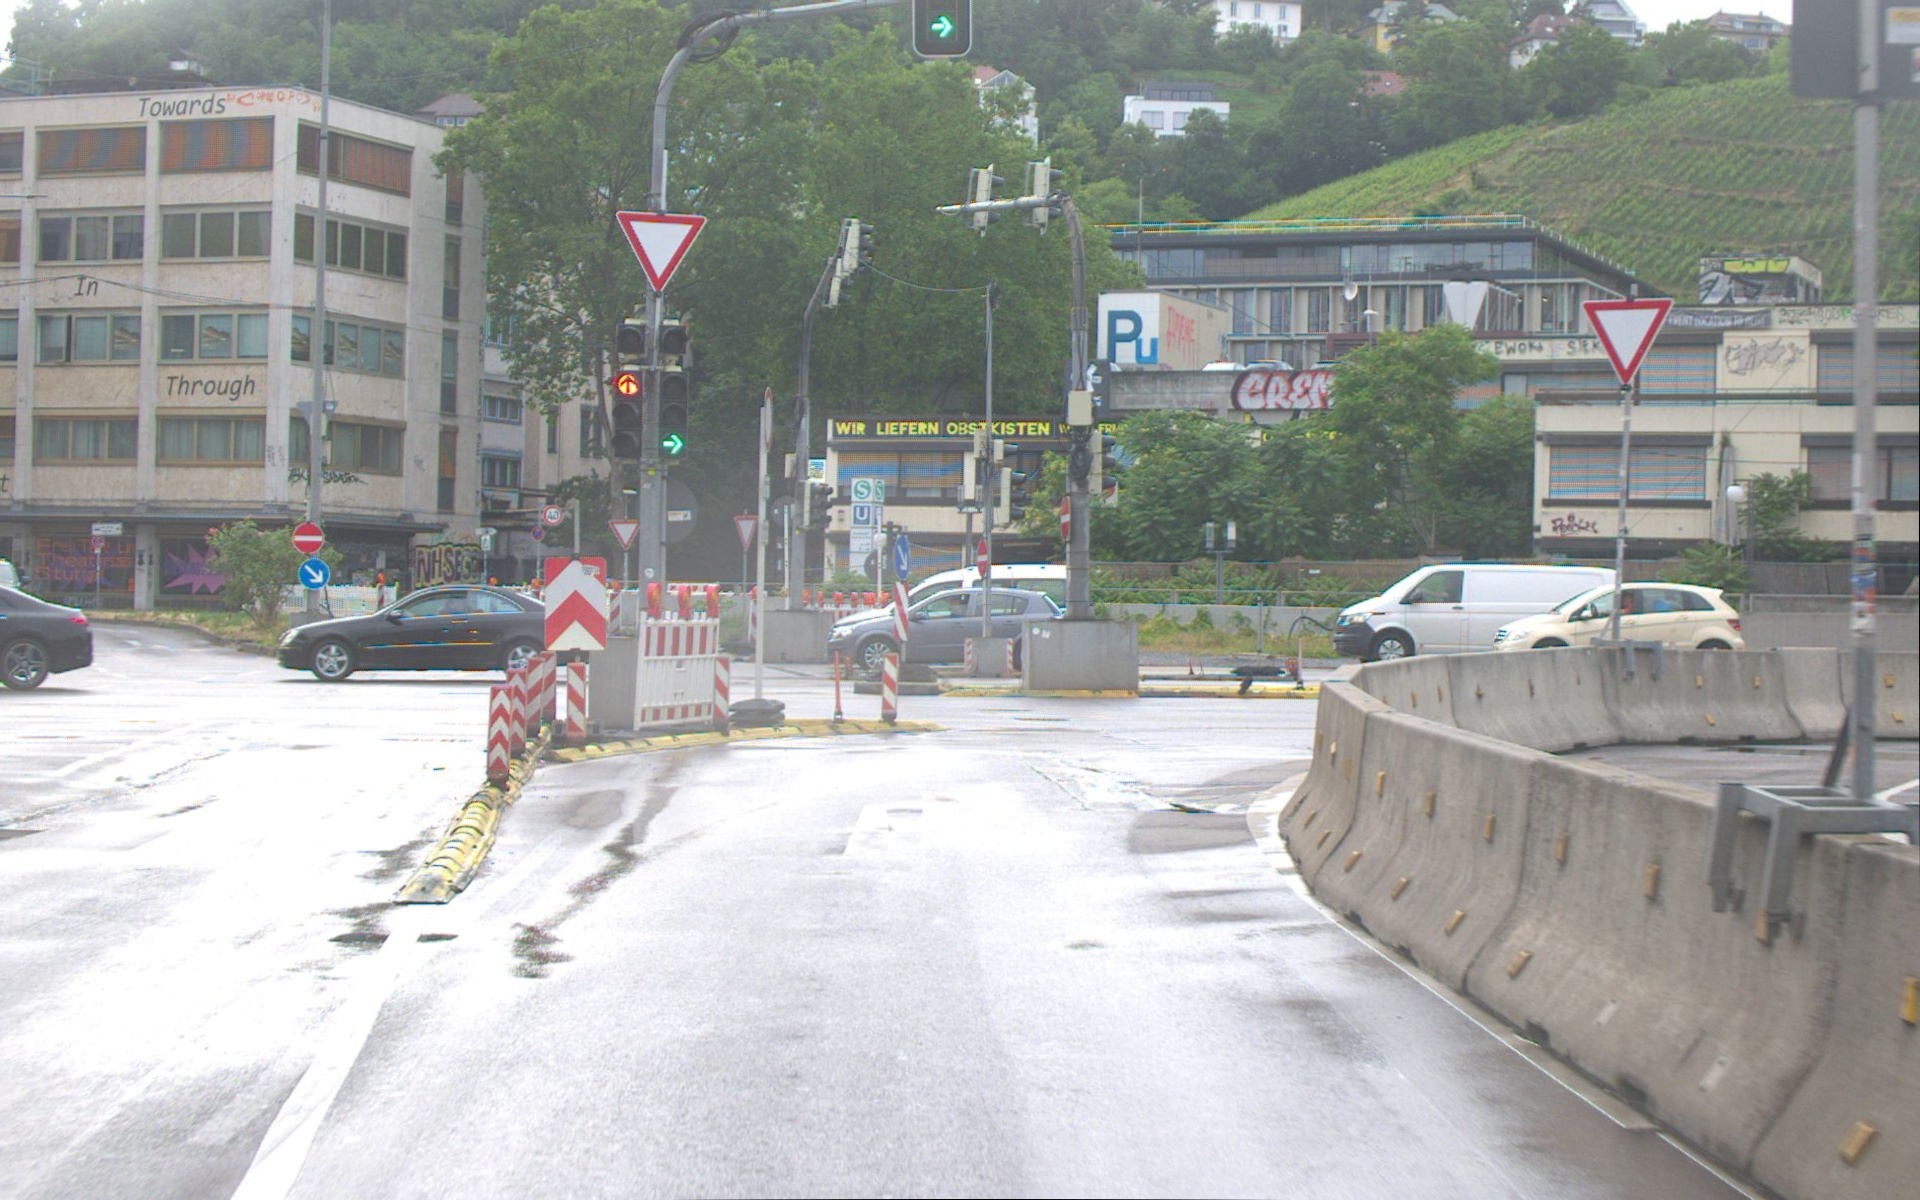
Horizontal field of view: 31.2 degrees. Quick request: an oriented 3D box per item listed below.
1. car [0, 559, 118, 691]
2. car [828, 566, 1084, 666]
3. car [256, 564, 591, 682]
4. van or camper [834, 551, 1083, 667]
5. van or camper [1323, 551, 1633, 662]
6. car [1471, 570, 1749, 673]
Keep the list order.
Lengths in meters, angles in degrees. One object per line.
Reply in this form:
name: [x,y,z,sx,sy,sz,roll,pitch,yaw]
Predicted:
car: [-12.957,0.281,42.276,4.648,1.593,2.018,1,1,-32]
car: [-0.098,0.264,58.421,4.166,1.593,1.852,1,1,-6]
car: [-7.701,0.320,49.750,4.647,1.593,2.019,1,1,-5]
van or camper: [-0.052,0.147,61.461,4.241,1.972,1.852,1,1,-6]
van or camper: [9.301,0.114,61.948,5.194,1.887,1.888,1,1,-5]
car: [11.099,0.354,58.888,4.365,1.668,1.848,1,1,-1]
